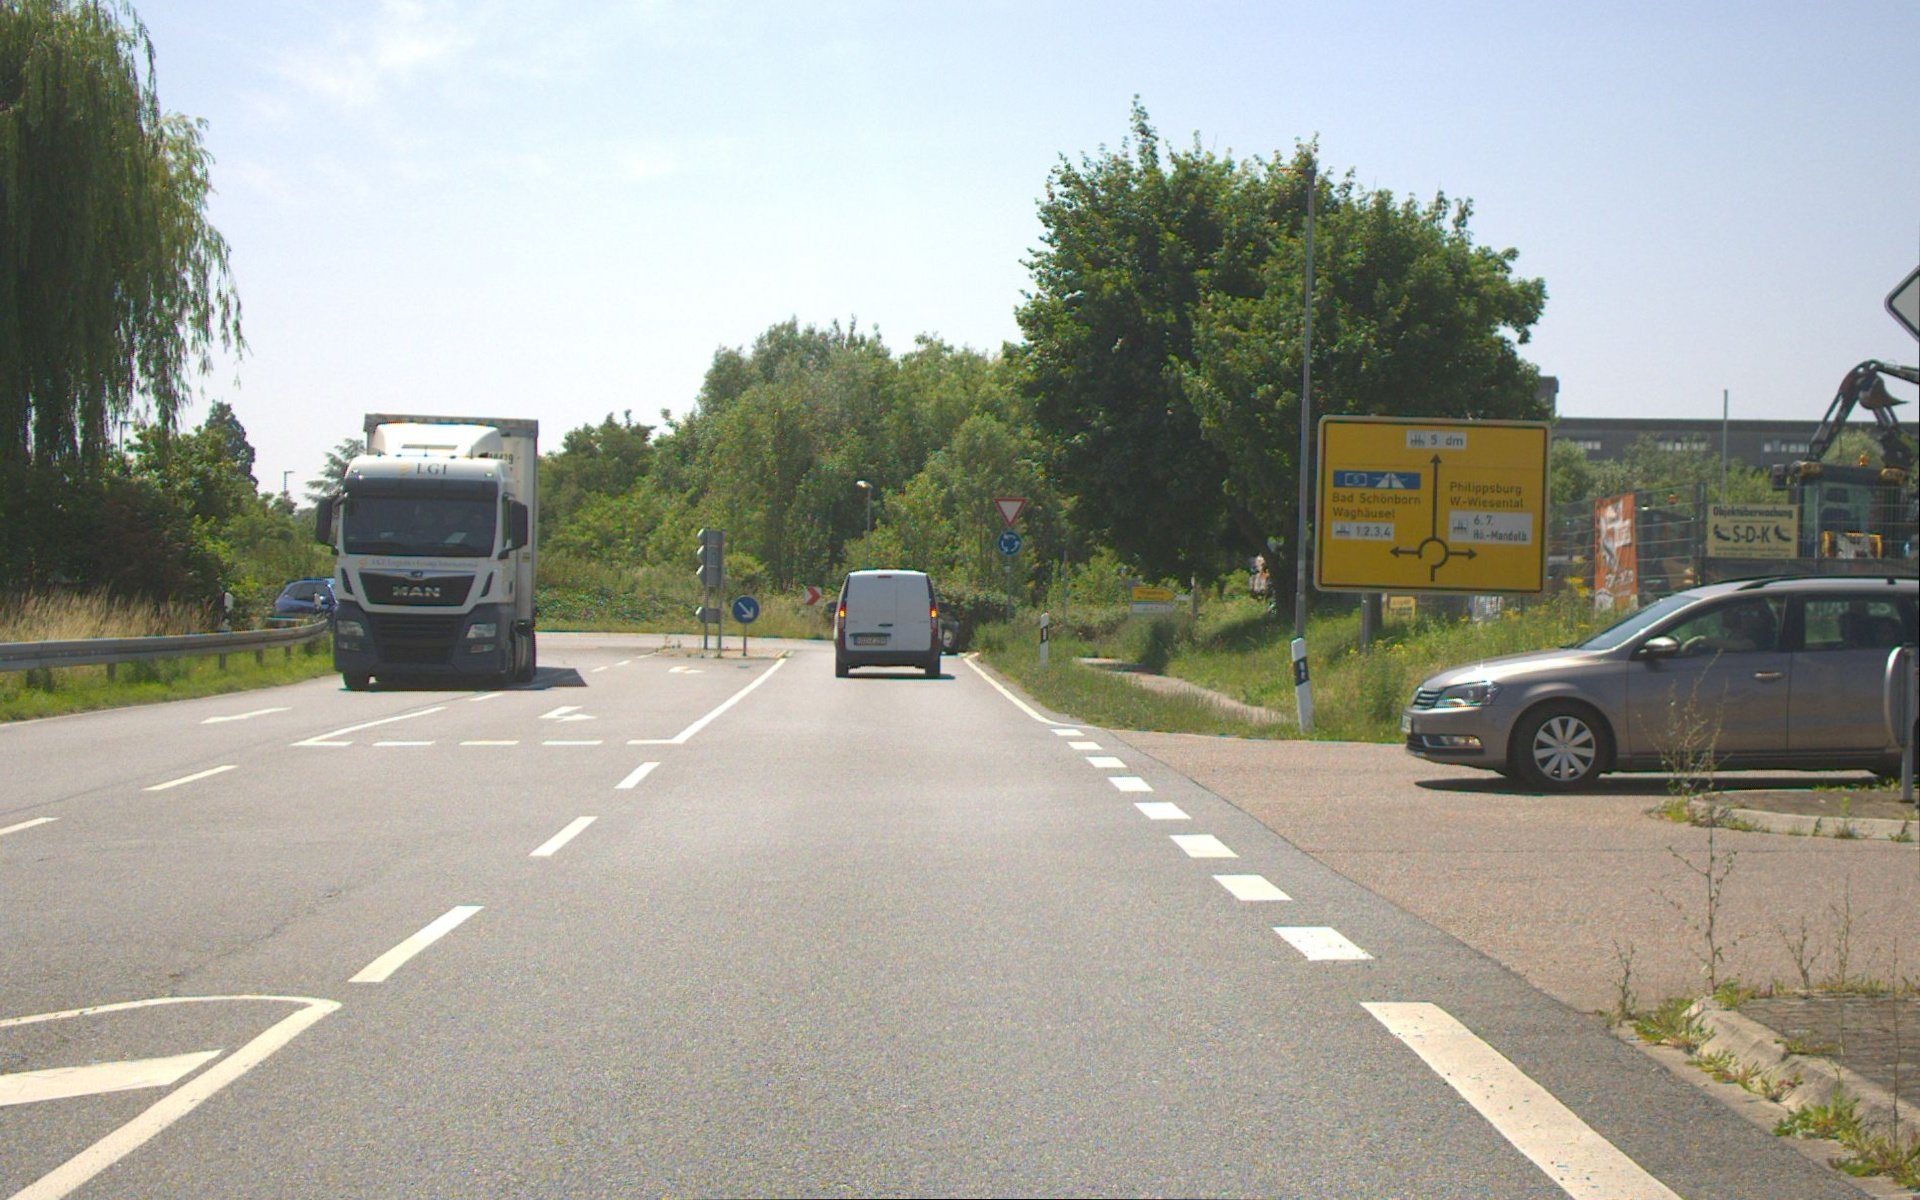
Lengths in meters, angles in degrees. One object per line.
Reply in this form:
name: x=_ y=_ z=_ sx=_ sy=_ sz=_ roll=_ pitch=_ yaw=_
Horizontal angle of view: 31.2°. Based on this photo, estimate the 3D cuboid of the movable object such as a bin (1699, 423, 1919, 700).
movable object such as a bin: x=11.270 y=-0.395 z=43.996 sx=2.323 sy=3.239 sz=5.101 roll=3 pitch=-2 yaw=-1

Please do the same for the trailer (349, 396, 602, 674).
trailer: x=-7.987 y=-1.062 z=58.477 sx=2.789 sy=4.043 sz=13.504 roll=3 pitch=1 yaw=-3

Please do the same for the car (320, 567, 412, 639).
car: x=-13.399 y=0.054 z=77.470 sx=1.846 sy=1.562 sz=4.001 roll=0 pitch=1 yaw=-12

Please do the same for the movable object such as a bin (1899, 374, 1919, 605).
movable object such as a bin: x=23.503 y=-2.348 z=75.073 sx=5.085 sy=5.038 sz=2.777 roll=3 pitch=-2 yaw=2

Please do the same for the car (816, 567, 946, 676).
car: x=-1.366 y=0.350 z=57.937 sx=1.903 sy=1.726 sz=3.823 roll=2 pitch=0 yaw=-5

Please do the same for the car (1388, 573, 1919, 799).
car: x=5.390 y=0.577 z=24.157 sx=4.511 sy=1.503 sz=1.914 roll=0 pitch=0 yaw=0

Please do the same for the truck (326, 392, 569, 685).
truck: x=-7.691 y=-0.918 z=52.439 sx=2.789 sy=4.043 sz=6.754 roll=3 pitch=1 yaw=-3
